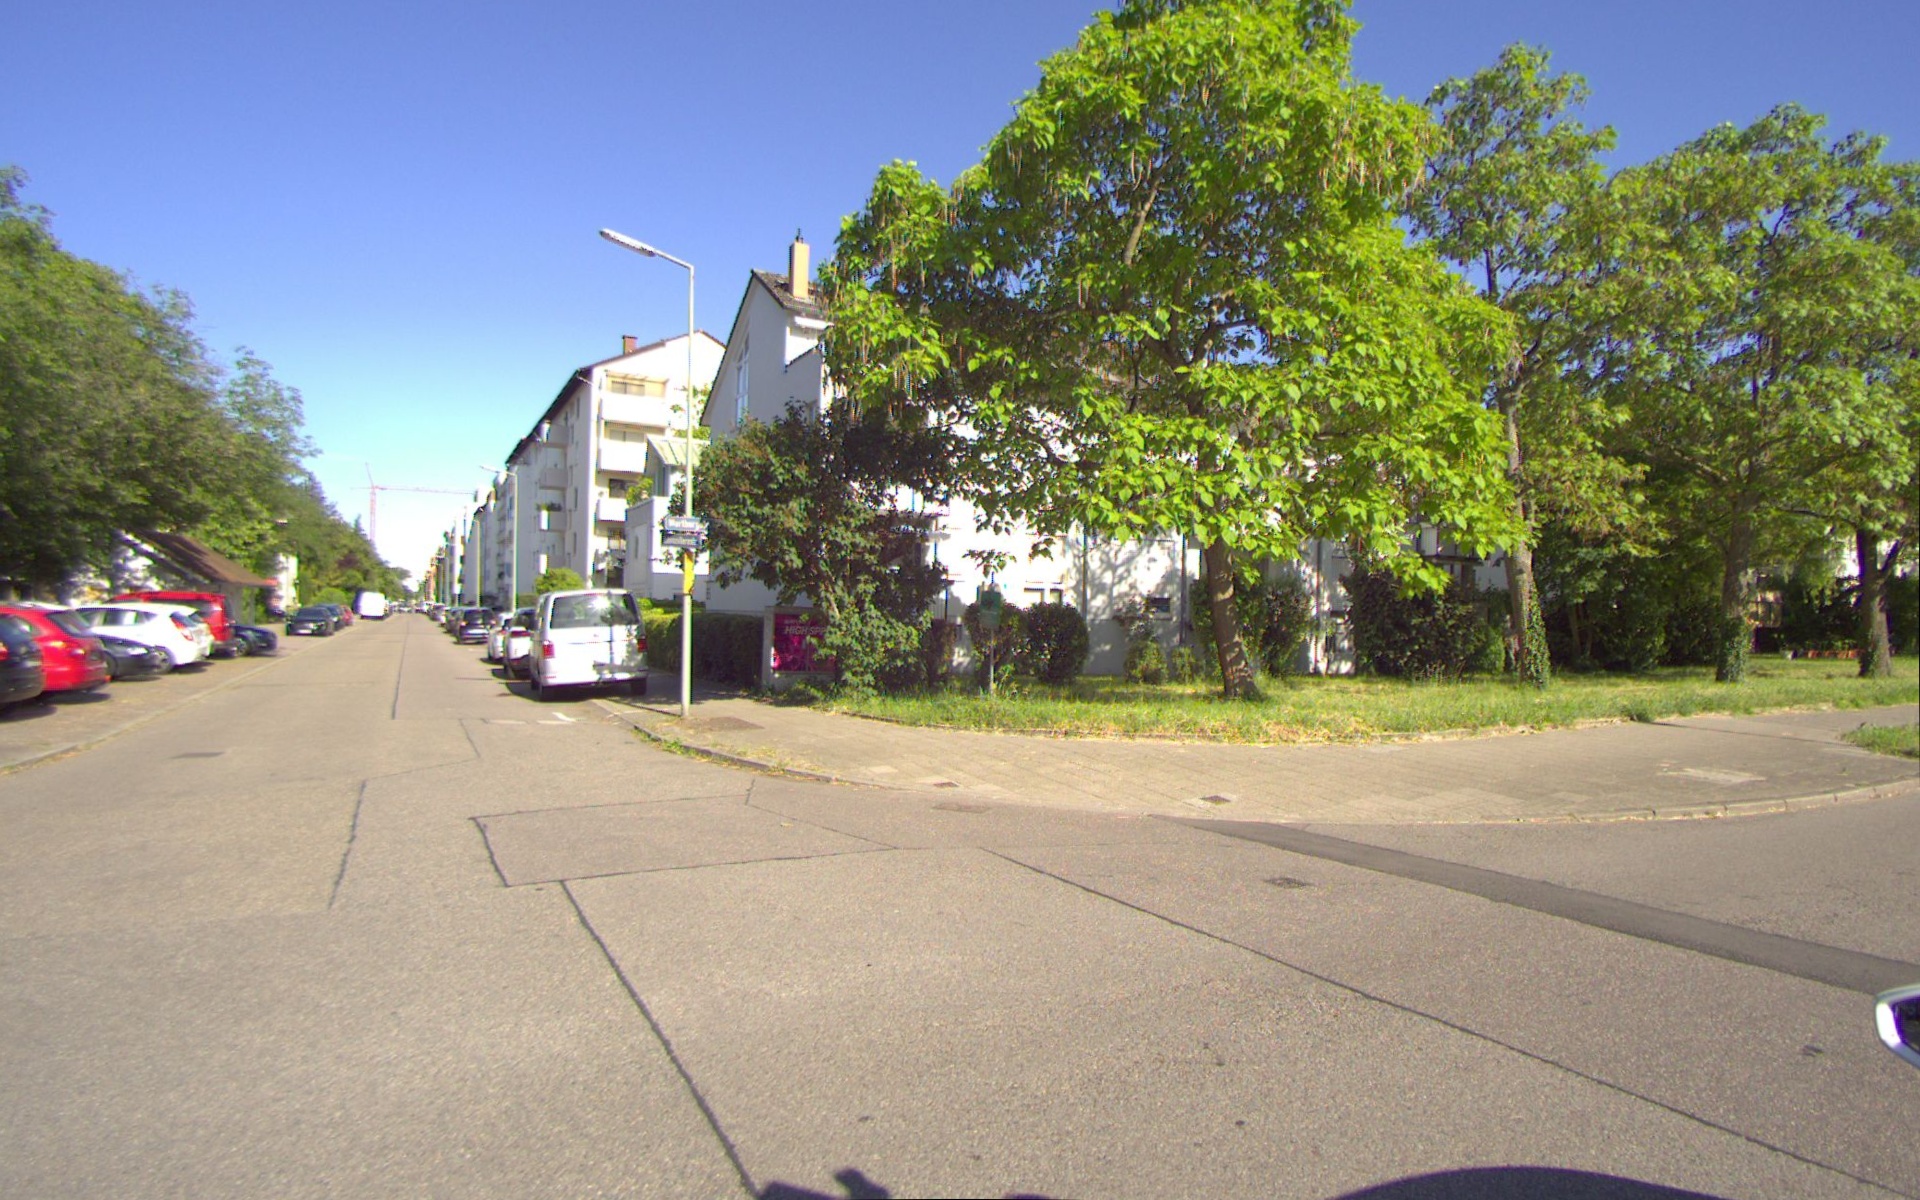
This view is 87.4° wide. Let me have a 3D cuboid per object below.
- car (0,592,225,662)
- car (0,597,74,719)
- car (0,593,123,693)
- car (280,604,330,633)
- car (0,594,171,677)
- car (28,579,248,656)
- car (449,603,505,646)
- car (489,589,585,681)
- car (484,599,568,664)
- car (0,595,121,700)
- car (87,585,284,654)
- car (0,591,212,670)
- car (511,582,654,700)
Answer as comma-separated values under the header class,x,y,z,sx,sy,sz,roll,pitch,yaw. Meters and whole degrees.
class,x,y,z,sx,sy,sz,roll,pitch,yaw
car,-20.328,0.670,24.322,3.841,1.506,1.662,3,-2,-30
car,-13.709,0.643,12.370,3.839,1.506,1.662,3,-2,-30
car,-16.744,0.679,16.845,3.841,1.624,1.662,3,-2,-30
car,-33.210,0.920,50.993,1.748,1.438,3.872,1,-1,-28
car,-17.905,0.667,19.470,3.841,1.506,1.662,3,-2,-30
car,-22.053,0.501,27.198,4.305,1.831,1.662,3,-2,-30
car,-21.510,1.052,44.663,1.976,1.806,3.969,1,-1,-29
car,-10.333,0.805,24.394,1.911,2.024,3.974,1,-1,-26
car,-13.082,0.907,30.137,1.899,1.806,4.064,1,-1,-29
car,-15.024,0.643,14.737,3.841,1.506,1.662,3,-2,-30
car,-22.578,0.603,29.529,4.305,1.794,1.662,3,-2,-30
car,-18.998,0.680,22.086,3.841,1.577,1.662,3,-2,-30
car,-7.408,0.724,19.442,2.043,1.995,4.433,0,-1,-28
